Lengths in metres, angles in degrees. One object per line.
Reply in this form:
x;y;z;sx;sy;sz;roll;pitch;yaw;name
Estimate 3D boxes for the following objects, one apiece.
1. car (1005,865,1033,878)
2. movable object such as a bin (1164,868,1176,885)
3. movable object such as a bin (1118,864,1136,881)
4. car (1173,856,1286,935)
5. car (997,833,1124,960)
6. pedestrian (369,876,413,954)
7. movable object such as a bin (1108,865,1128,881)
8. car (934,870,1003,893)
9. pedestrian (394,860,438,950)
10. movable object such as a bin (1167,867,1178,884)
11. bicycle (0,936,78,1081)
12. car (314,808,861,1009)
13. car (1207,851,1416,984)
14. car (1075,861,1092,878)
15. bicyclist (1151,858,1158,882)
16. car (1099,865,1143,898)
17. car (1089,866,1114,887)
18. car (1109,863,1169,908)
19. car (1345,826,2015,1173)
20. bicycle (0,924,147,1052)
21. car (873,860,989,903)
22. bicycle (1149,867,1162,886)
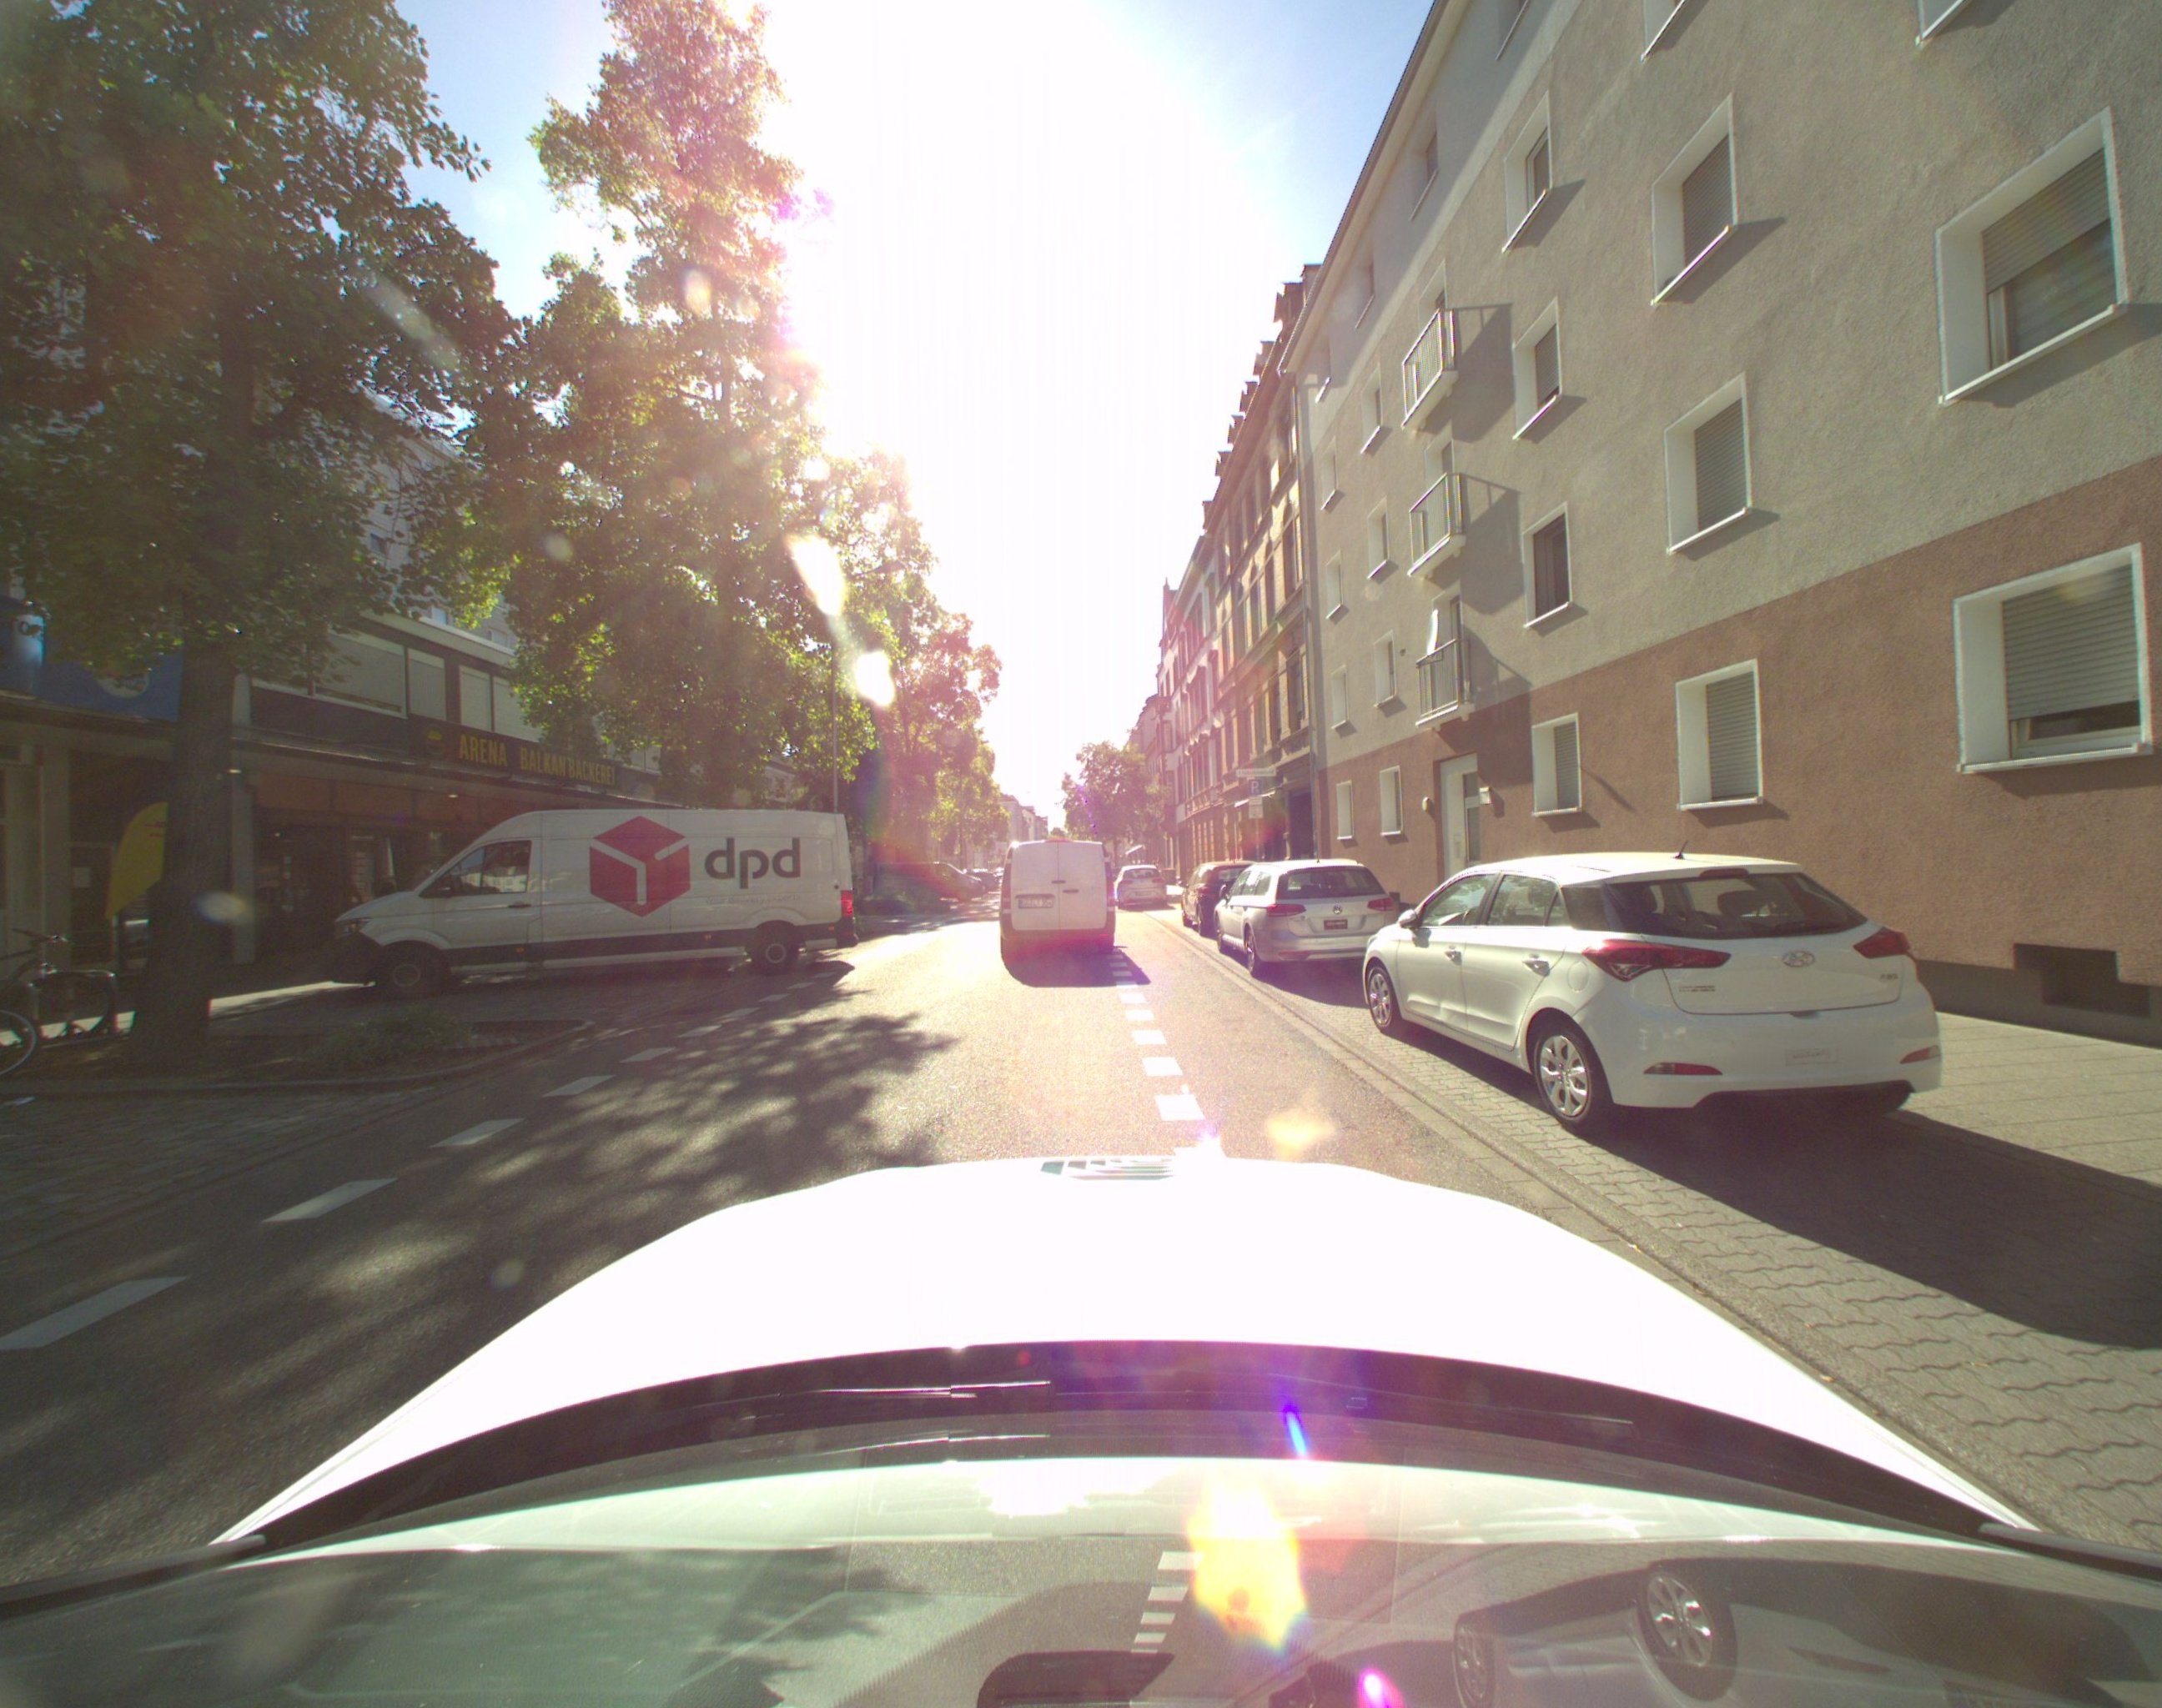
-8.961;2.517;117.338;3.980;1.640;1.997;-2;-1;-5;car
5.861;1.454;53.623;0.636;1.069;0.632;-2;-1;-2;movable object such as a bin
3.972;1.608;70.699;1.028;1.348;1.116;-3;-1;38;movable object such as a bin
3.136;0.847;17.897;1.704;1.480;3.708;-2;-1;-1;car
-0.557;0.677;14.947;1.918;1.914;4.877;-1;-1;-6;car
-13.522;1.187;15.964;0.467;1.473;0.420;-2;-1;-4;pedestrian
3.179;1.626;69.485;1.279;1.348;1.095;-1;-1;-43;movable object such as a bin
-7.440;1.827;54.107;4.290;1.460;1.762;0;-1;1;car
-13.484;1.018;16.521;0.484;1.782;0.427;-2;-1;-4;pedestrian
5.897;1.399;52.505;0.636;1.069;0.639;-2;-1;-2;movable object such as a bin
-9.473;1.258;6.687;1.712;1.117;0.623;0;-1;2;bicycle
-6.950;0.615;12.469;6.617;2.474;1.983;-2;-1;-26;car
3.051;0.777;11.822;1.779;1.460;4.517;-3;-1;1;car
0.247;1.830;95.594;1.811;1.921;4.640;-2;-1;-2;car
4.568;0.970;50.654;0.359;1.477;0.531;-1;-1;3;bicyclist
1.826;1.260;38.545;1.734;1.451;4.304;-2;-1;-2;car
1.537;1.662;61.561;1.632;1.476;3.576;-3;-1;-3;car
2.010;1.090;29.335;1.734;1.451;3.997;-2;-1;-2;car
3.408;0.691;5.679;1.727;1.486;3.791;-4;-1;-2;car
-10.017;1.228;7.637;1.861;1.107;0.587;0;-1;2;bicycle
-7.295;1.317;40.022;5.278;1.974;2.014;-1;-1;-2;car
4.657;1.407;50.926;0.534;1.148;2.124;-7;-2;2;bicycle
